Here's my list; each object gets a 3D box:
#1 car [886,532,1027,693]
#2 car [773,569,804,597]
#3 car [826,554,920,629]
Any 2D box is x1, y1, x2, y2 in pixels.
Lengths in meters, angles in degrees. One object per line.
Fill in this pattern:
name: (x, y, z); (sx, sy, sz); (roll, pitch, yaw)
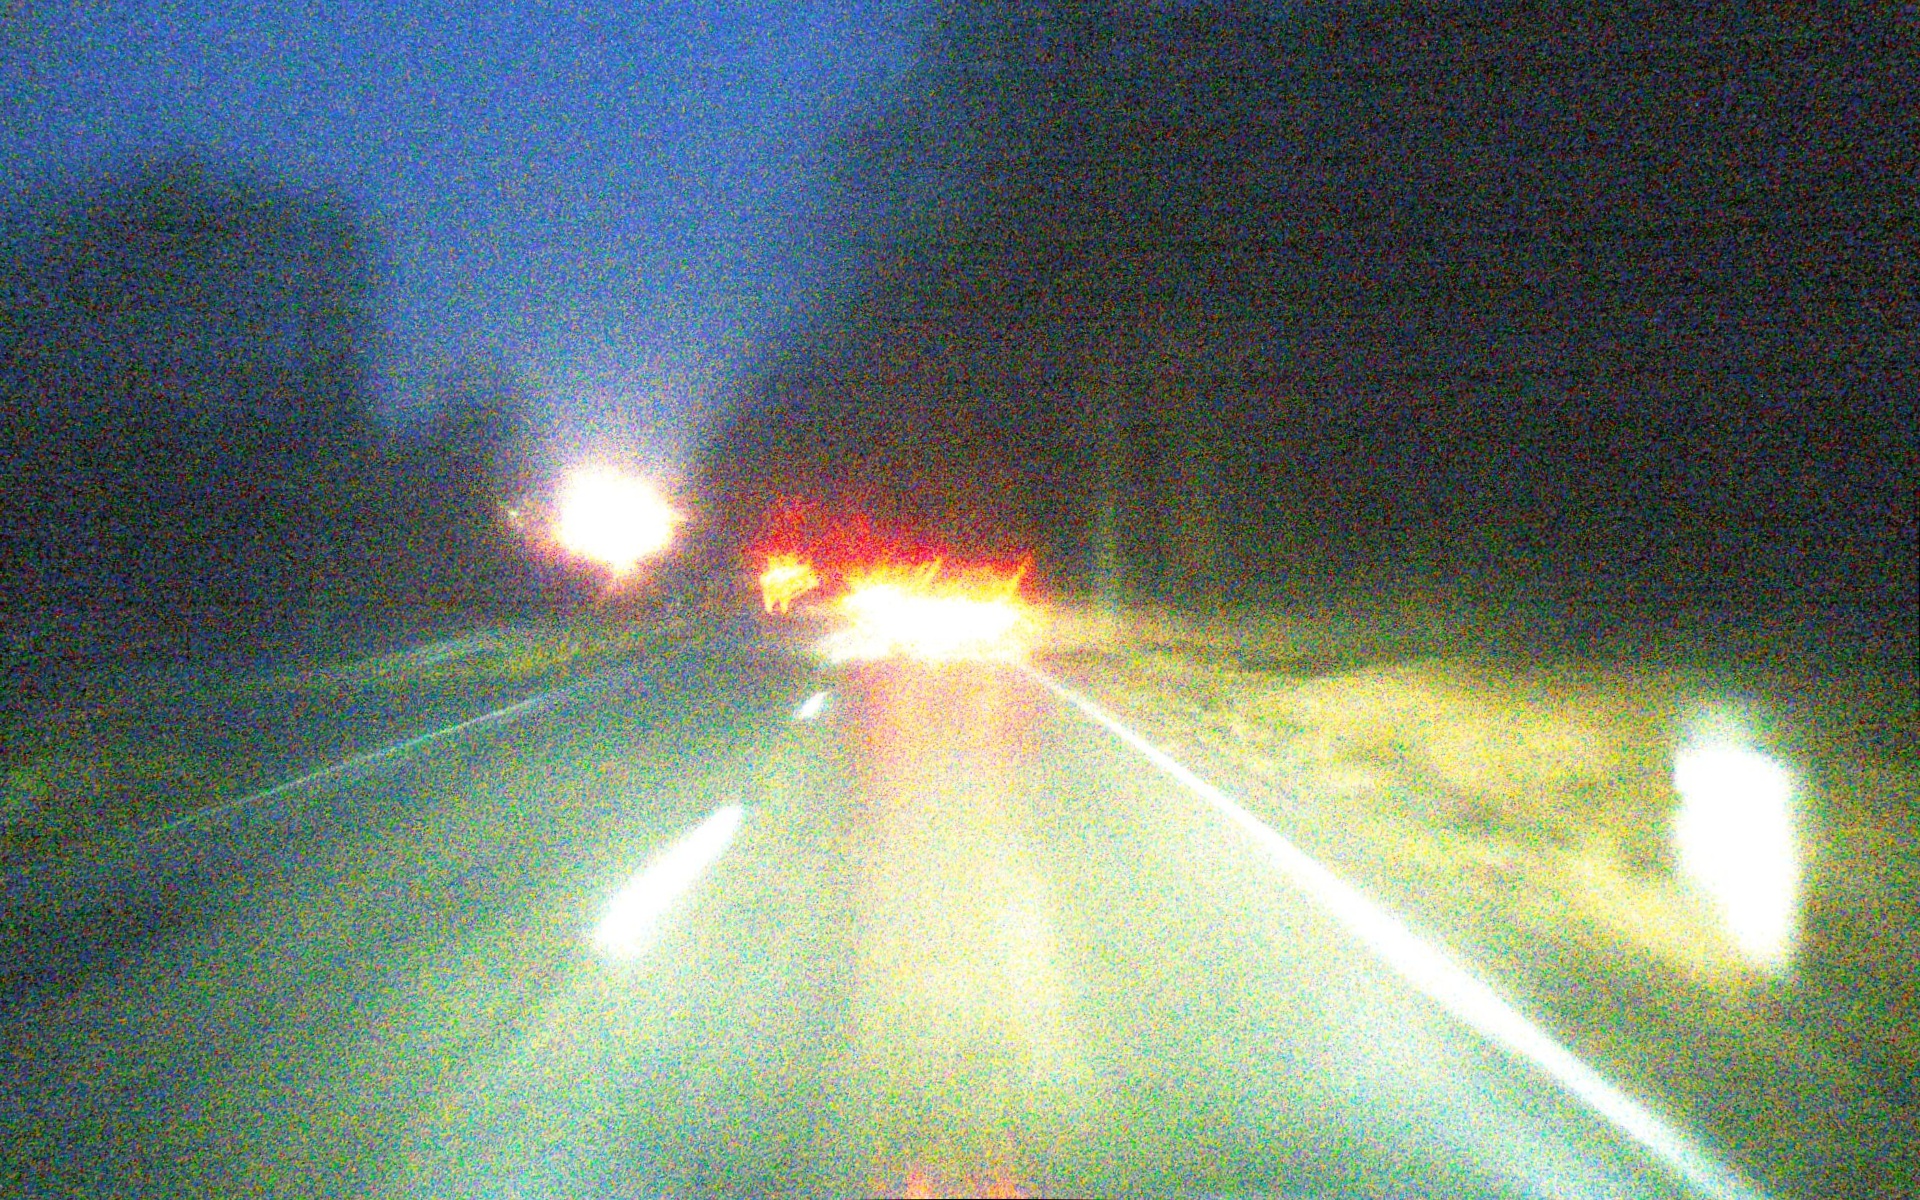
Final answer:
car: (-0.160, 0.130, 29.948); (2.138, 2.601, 4.505); (2, 2, -5)
car: (-13.355, -1.350, 128.936); (1.953, 2.048, 4.000); (-3, 0, 0)
car: (-3.373, -0.426, 66.165); (3.313, 2.601, 7.337); (3, 2, 0)
